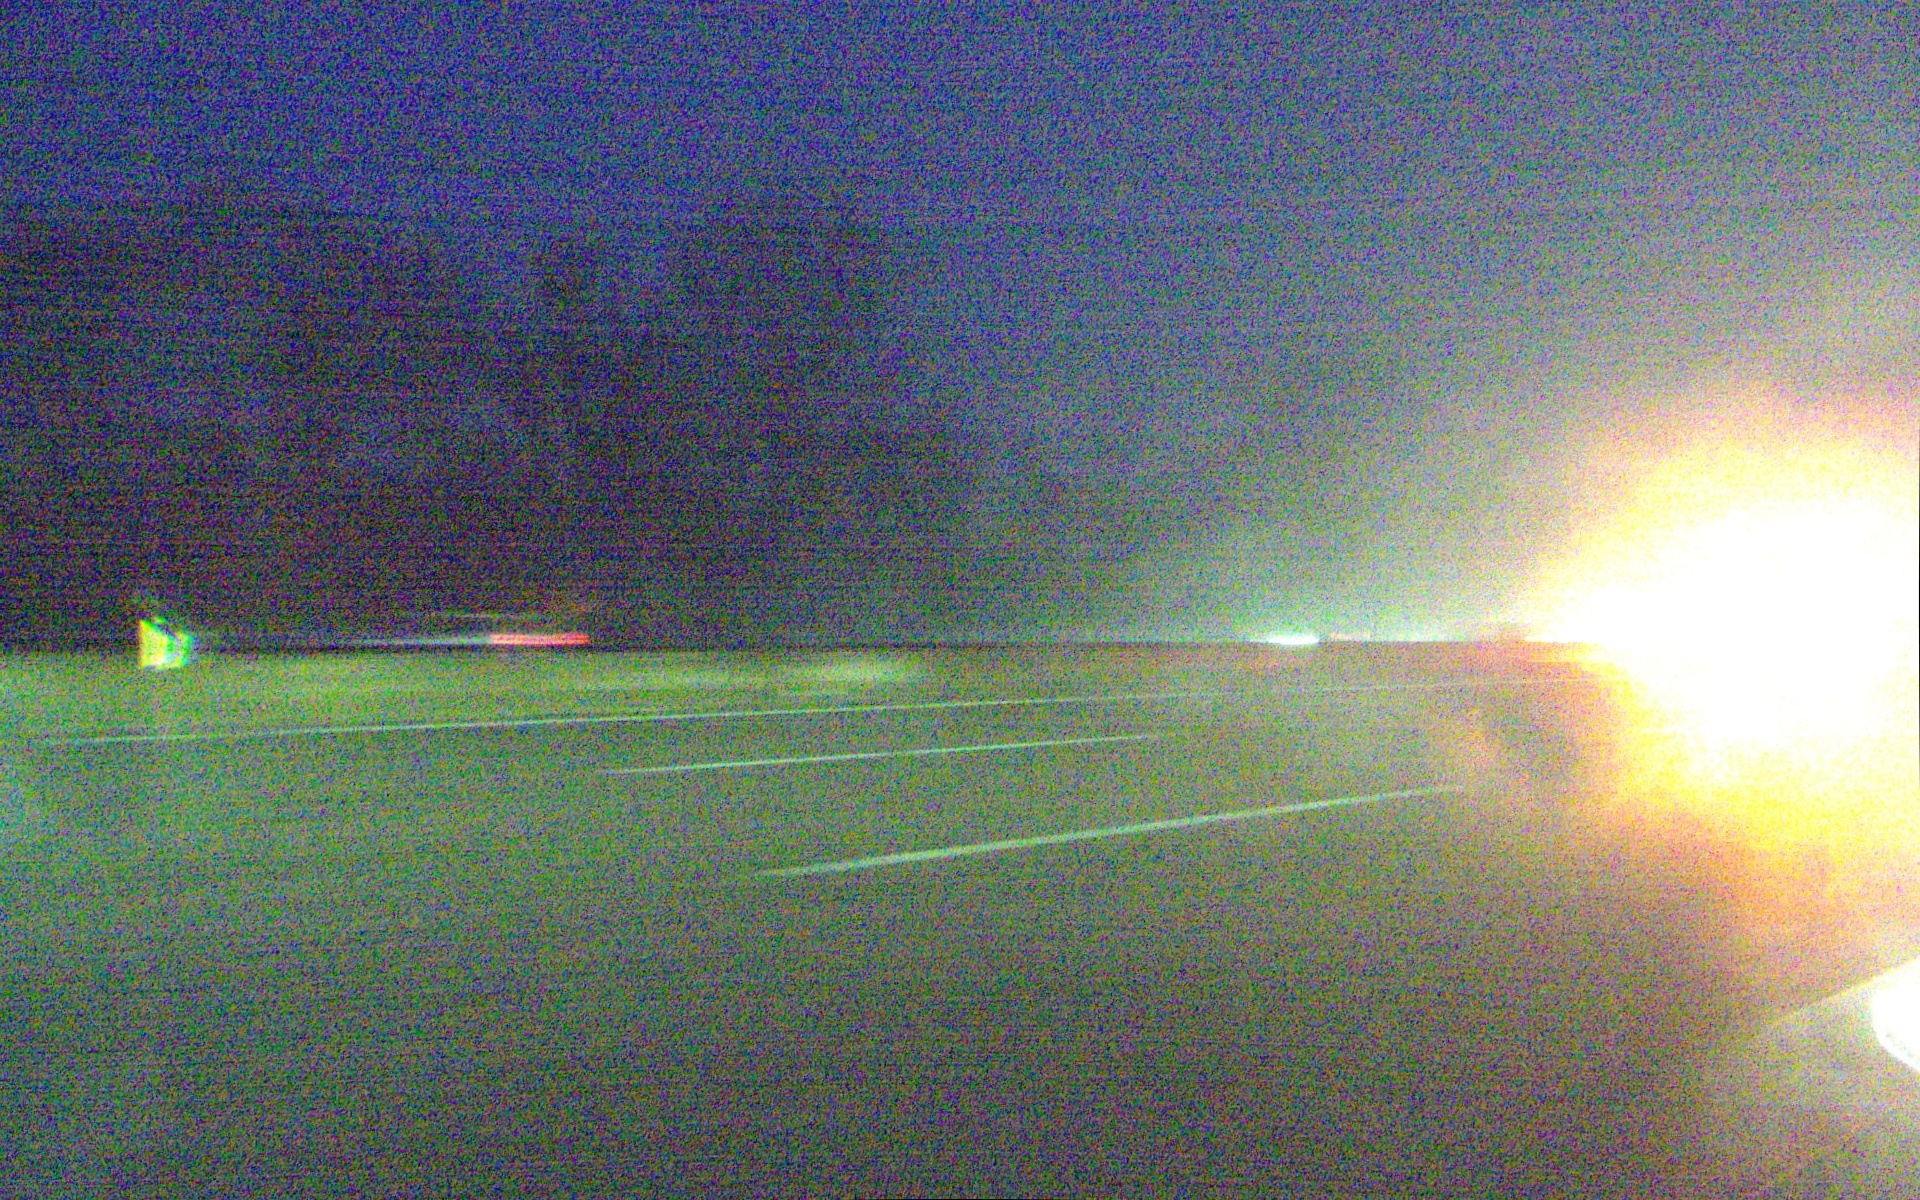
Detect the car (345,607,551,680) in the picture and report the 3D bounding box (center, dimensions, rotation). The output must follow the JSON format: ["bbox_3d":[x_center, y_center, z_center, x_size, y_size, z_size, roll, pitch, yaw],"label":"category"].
[{"bbox_3d":[-12.555,1.037,24.776,4.361,1.620,1.827,1,0,-31],"label":"car"}]

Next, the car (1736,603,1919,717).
[{"bbox_3d":[16.115,1.003,18.187,4.470,1.785,2.025,1,0,-35],"label":"car"}]
